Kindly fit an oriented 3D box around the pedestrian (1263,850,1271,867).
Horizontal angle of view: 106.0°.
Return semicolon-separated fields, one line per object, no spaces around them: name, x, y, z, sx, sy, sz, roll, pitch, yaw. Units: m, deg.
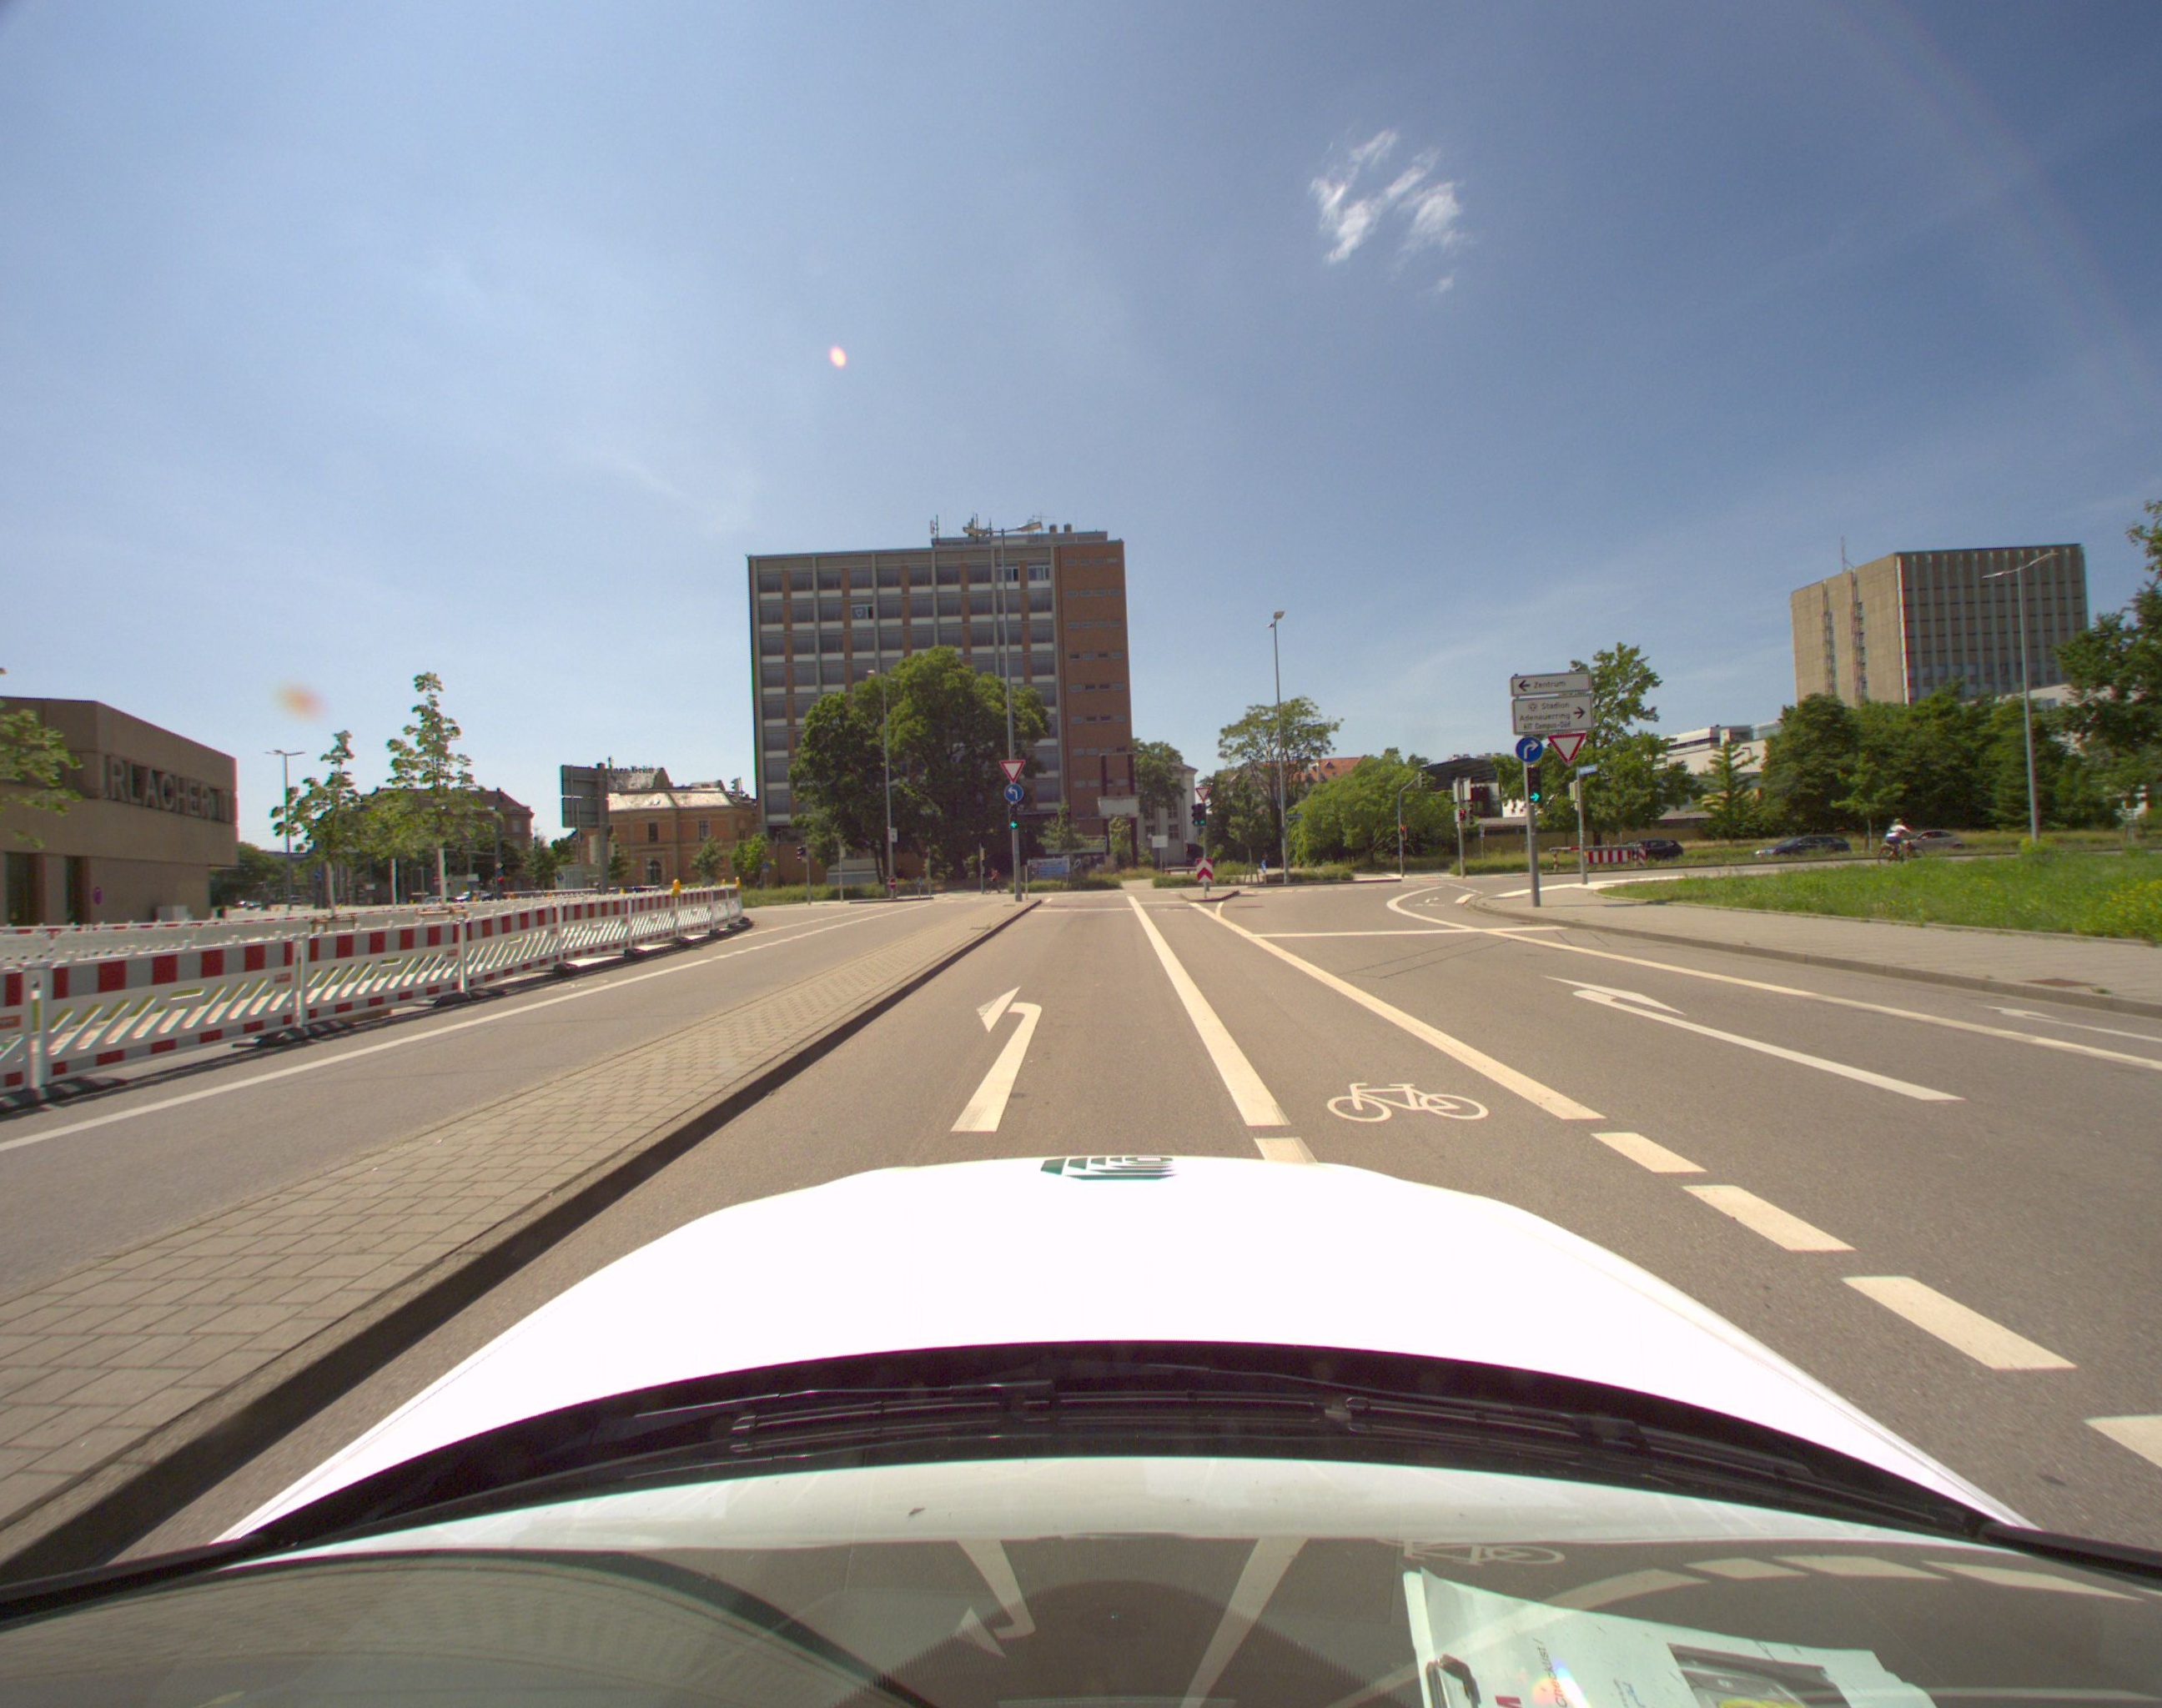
pedestrian;18.629;0.456;81.381;0.637;1.665;0.707;-1;-1;0

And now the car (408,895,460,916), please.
car;-53.439;4.257;67.274;4.528;1.557;1.733;-3;-1;30

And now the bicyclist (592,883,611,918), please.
bicyclist;-21.997;2.135;37.358;0.492;1.580;0.533;-4;-2;19

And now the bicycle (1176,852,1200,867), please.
bicycle;15.412;0.792;117.182;3.432;2.014;0.761;-1;-1;3

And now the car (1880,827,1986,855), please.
car;46.894;-0.714;44.895;3.973;1.439;1.760;-1;-1;1

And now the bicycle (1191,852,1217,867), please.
bicycle;16.706;0.761;111.024;3.432;2.014;0.761;-1;-1;3

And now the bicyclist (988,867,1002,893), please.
bicyclist;-5.938;1.789;56.390;0.544;1.715;0.707;-1;0;42

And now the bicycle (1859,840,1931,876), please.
bicycle;28.244;0.143;28.267;2.182;1.237;0.520;-1;-1;-7

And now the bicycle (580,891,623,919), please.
bicycle;-21.983;2.339;37.331;1.877;1.180;0.527;-4;-2;18

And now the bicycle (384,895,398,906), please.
bicycle;-108.588;7.299;128.111;3.140;1.788;0.618;-1;-1;30

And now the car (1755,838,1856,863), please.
car;39.934;-0.169;44.938;3.973;1.310;1.760;-1;-1;1

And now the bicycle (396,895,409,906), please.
bicycle;-107.779;7.379;129.315;3.140;1.788;0.618;-1;-1;30

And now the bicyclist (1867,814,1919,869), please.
bicyclist;28.227;-0.439;28.311;1.134;1.887;0.707;0;-1;-7

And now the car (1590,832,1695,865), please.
car;31.460;-0.309;45.766;4.516;1.586;1.712;-3;-1;7

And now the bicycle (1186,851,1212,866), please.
bicycle;16.317;0.679;112.683;3.432;2.014;0.761;-1;-1;3

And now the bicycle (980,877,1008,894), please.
bicycle;-6.004;2.150;56.304;0.551;1.045;2.009;-2;1;43
